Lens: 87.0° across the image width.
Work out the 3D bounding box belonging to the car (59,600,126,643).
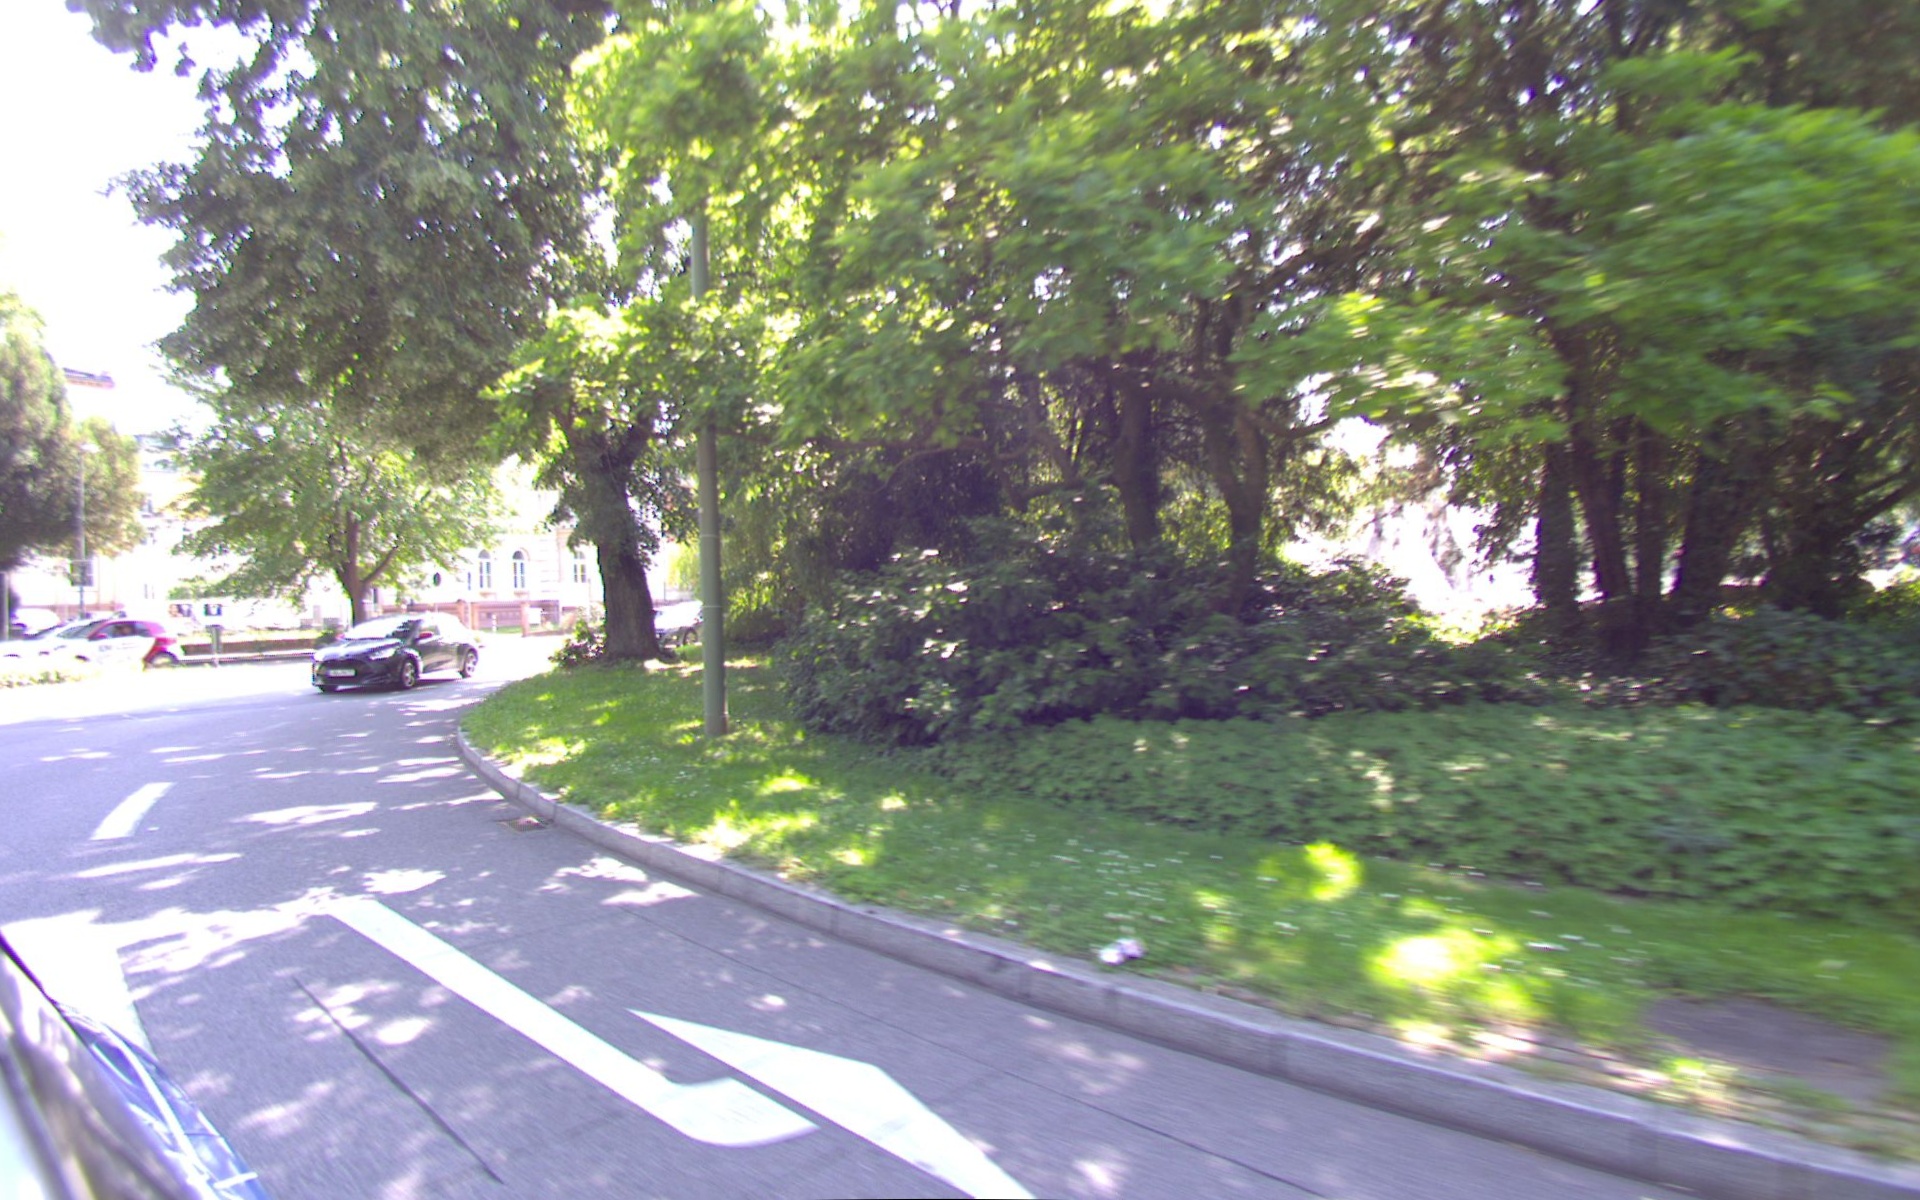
[{"bbox_3d":[-43.192,1.057,50.388,3.995,2.029,1.828,-2,0,39],"label":"car"}]

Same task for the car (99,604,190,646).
[{"bbox_3d":[-34.460,1.061,42.761,3.988,1.674,1.831,-2,0,33],"label":"car"}]

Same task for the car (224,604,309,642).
[{"bbox_3d":[-32.202,1.065,46.970,3.988,1.674,1.831,-2,0,33],"label":"car"}]

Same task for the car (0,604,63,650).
[{"bbox_3d":[-37.032,1.070,39.611,3.988,1.674,1.831,-2,0,33],"label":"car"}]

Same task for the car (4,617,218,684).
[{"bbox_3d":[-22.167,1.272,26.589,1.804,1.462,3.914,-2,1,30],"label":"car"}]

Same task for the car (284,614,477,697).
[{"bbox_3d":[-11.721,1.052,20.791,1.786,1.462,3.955,-1,0,-1],"label":"car"}]

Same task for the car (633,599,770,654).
[{"bbox_3d":[-8.497,0.844,33.474,1.889,1.697,4.087,-1,-1,39],"label":"car"}]

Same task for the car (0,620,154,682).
[{"bbox_3d":[-24.926,1.382,27.293,1.804,1.462,4.641,-2,0,30],"label":"car"}]

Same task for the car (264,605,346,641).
[{"bbox_3d":[-31.755,1.117,49.043,3.988,1.590,1.831,-2,0,33],"label":"car"}]

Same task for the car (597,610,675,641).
[{"bbox_3d":[-17.704,1.389,55.462,3.888,1.462,1.651,-2,1,-13],"label":"car"}]

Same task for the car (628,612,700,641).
[{"bbox_3d":[-16.949,1.509,58.003,3.887,1.462,1.651,-2,1,-17],"label":"car"}]

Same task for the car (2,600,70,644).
[{"bbox_3d":[-44.576,1.063,48.801,3.995,2.029,1.828,-2,0,39],"label":"car"}]

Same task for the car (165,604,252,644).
[{"bbox_3d":[-33.380,1.064,44.934,3.988,1.674,1.831,-2,0,33],"label":"car"}]
